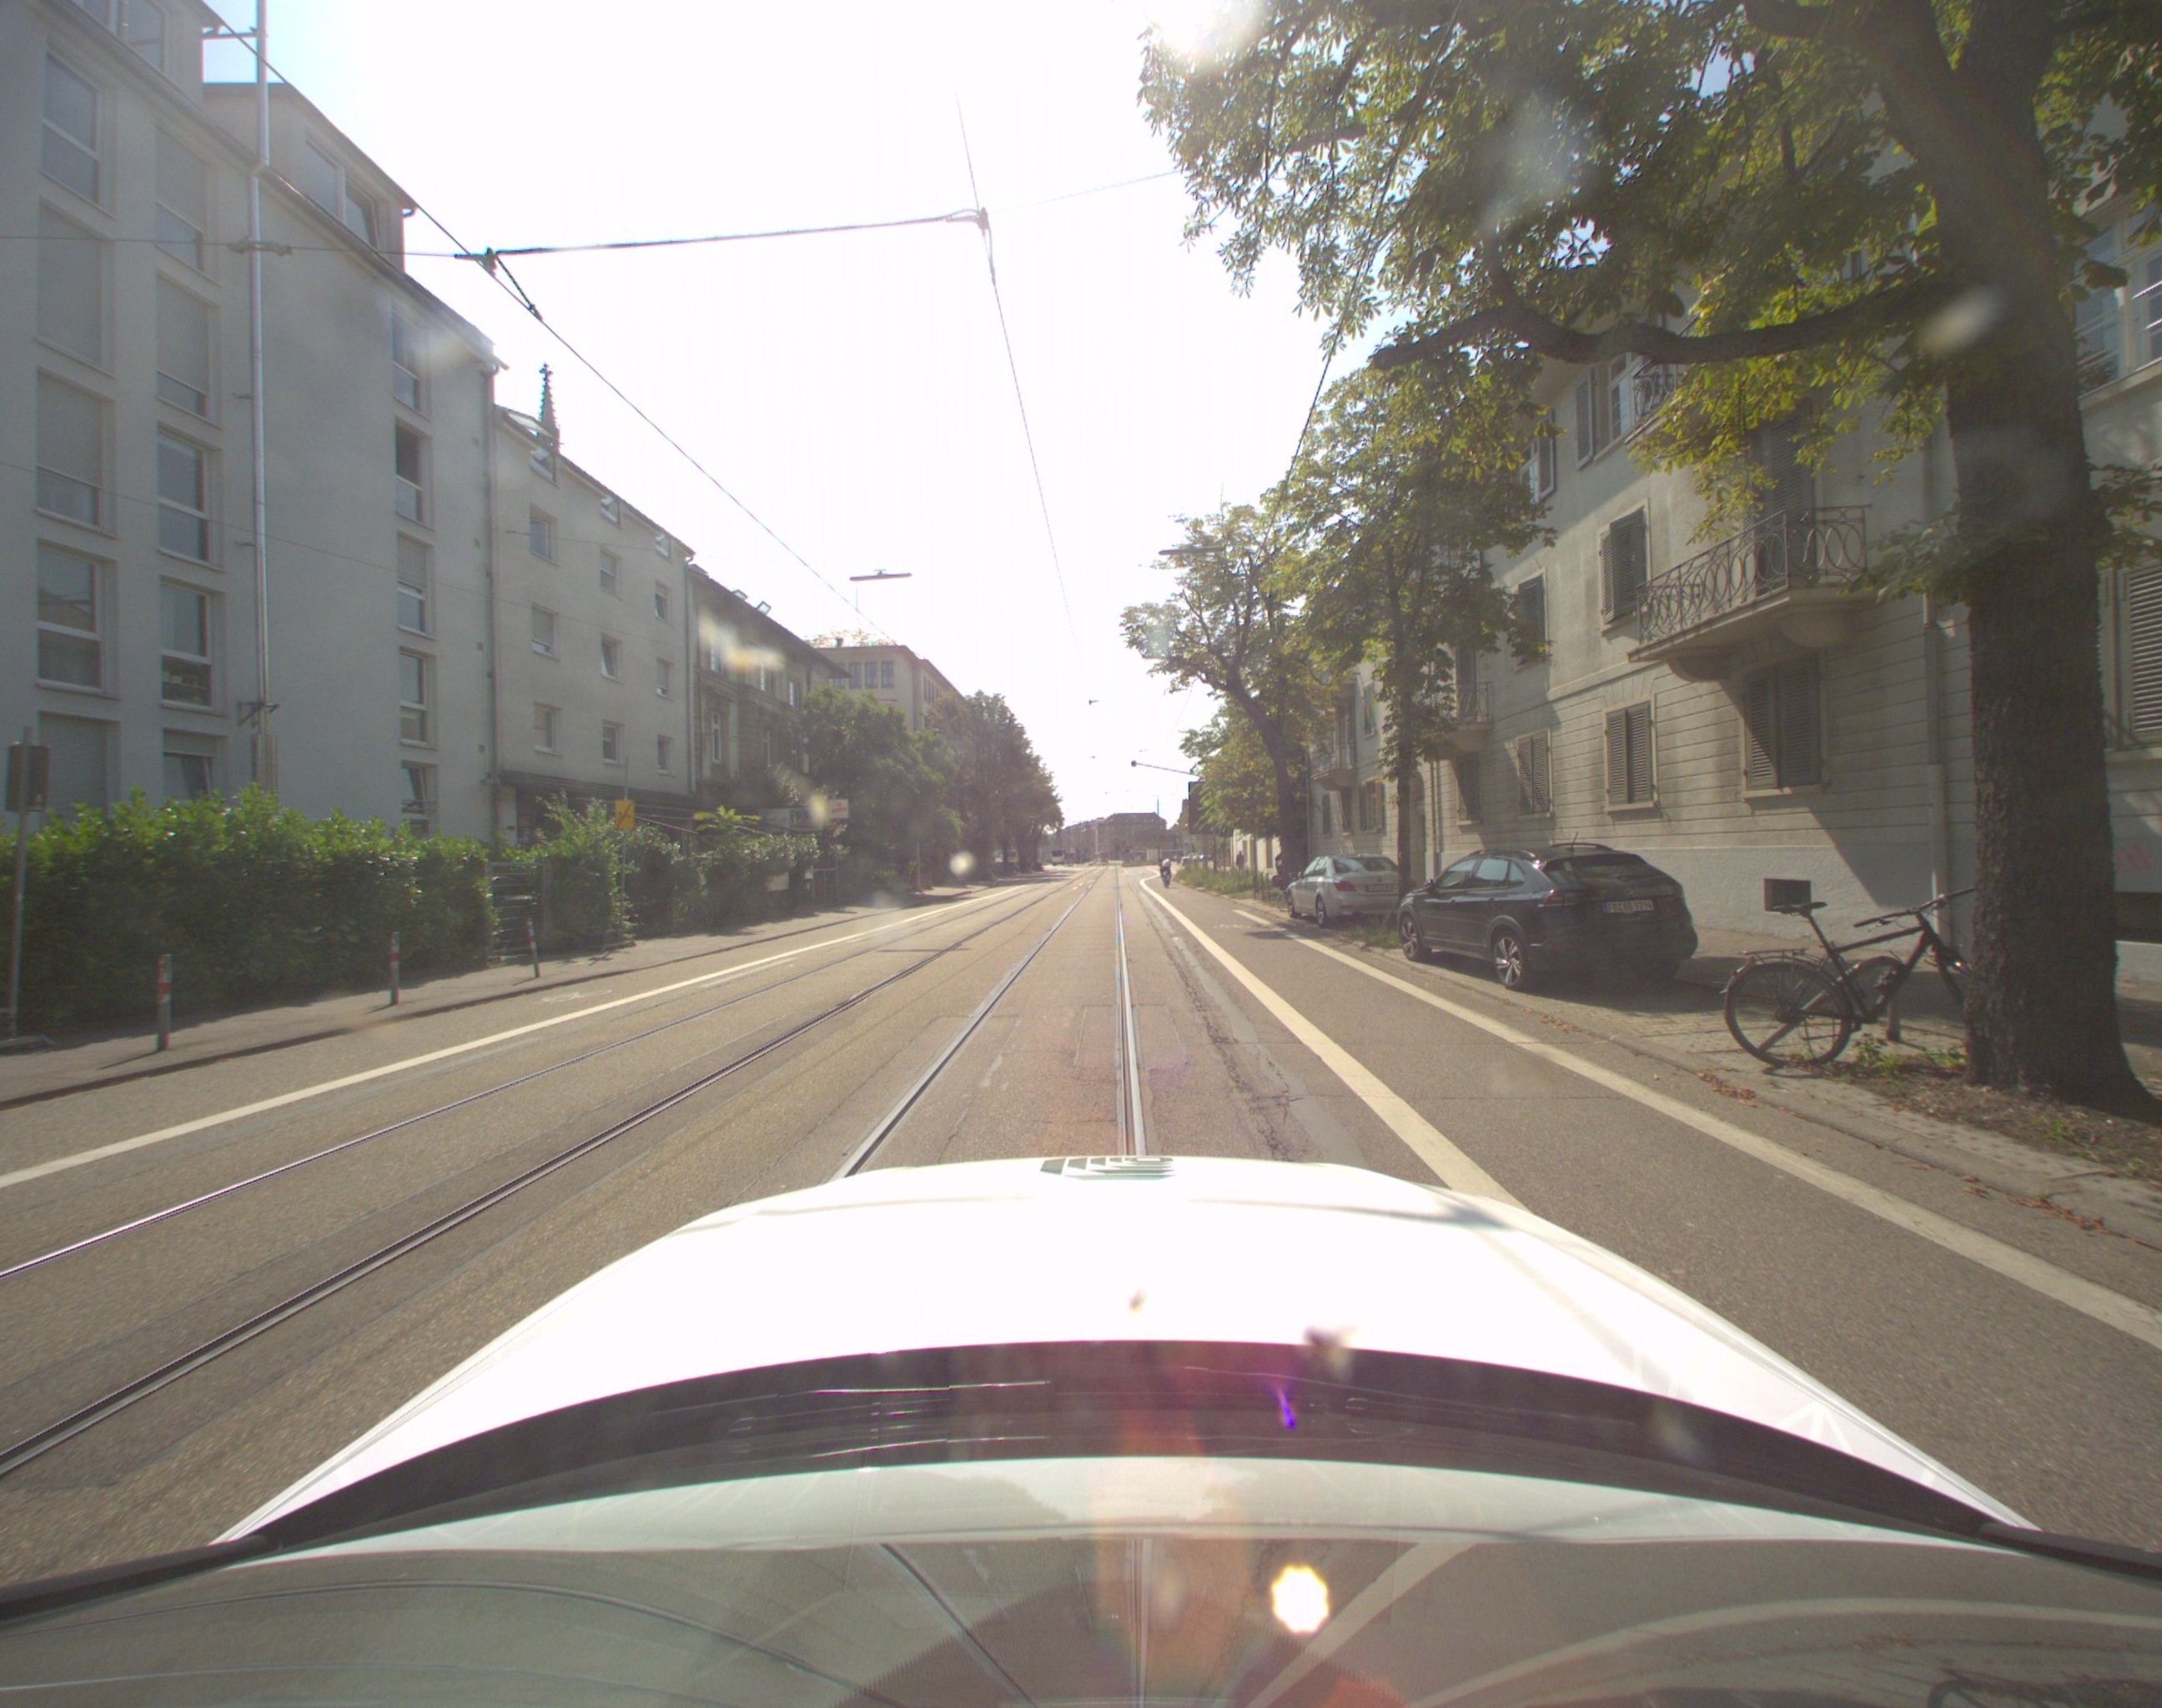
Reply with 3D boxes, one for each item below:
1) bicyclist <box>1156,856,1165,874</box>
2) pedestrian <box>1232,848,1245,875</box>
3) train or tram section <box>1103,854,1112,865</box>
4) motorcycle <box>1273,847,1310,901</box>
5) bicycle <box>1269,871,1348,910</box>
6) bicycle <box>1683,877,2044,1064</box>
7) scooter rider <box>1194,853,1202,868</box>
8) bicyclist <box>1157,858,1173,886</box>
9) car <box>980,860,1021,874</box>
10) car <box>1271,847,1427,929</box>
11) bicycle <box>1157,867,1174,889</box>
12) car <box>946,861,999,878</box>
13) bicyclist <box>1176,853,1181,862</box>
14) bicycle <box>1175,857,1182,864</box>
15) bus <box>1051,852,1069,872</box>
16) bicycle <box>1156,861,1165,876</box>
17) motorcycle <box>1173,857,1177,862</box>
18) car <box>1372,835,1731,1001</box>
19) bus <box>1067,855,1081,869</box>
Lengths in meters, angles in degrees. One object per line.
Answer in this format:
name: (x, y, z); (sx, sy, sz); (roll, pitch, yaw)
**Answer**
bicyclist: (6.284, 0.862, 64.263); (0.599, 1.335, 0.661); (-2, -1, 10)
pedestrian: (10.189, 0.504, 52.602); (0.688, 1.732, 0.580); (-2, -1, 4)
train or tram section: (8.622, 1.823, 266.218); (2.845, 3.548, 17.751); (-1, -1, 2)
motorcycle: (6.470, 0.593, 25.112); (0.880, 1.553, 2.419); (-2, -1, 10)
bicycle: (5.989, 0.951, 21.517); (1.913, 0.952, 0.722); (-2, -1, 5)
bicycle: (5.176, 0.749, 5.469); (1.748, 1.123, 0.656); (-1, -1, 1)
scooter rider: (14.274, 0.836, 99.402); (0.756, 1.775, 0.558); (-2, -1, 19)
bicyclist: (4.356, 0.931, 42.118); (0.742, 1.412, 0.962); (-1, 0, 3)
car: (-8.880, 1.410, 89.737); (4.181, 1.496, 1.801); (-1, 0, -35)
car: (5.580, 0.649, 17.625); (1.776, 1.450, 4.751); (-2, 0, 0)
bicycle: (4.369, 1.239, 42.164); (0.736, 1.049, 2.234); (-1, 0, 3)
car: (-9.854, 1.365, 74.132); (4.436, 1.462, 1.806); (-1, -1, -25)
bicyclist: (16.266, 0.587, 135.806); (0.445, 1.421, 0.499); (-3, -1, 36)
bicycle: (16.188, 1.119, 135.658); (0.440, 1.117, 1.455); (-3, -1, 36)
bus: (-4.246, 1.626, 166.151); (2.946, 3.775, 10.601); (-1, -1, 2)
bicycle: (6.298, 1.158, 64.271); (0.600, 1.163, 1.815); (-2, -1, 9)
motorcycle: (20.329, 1.181, 175.733); (0.600, 1.210, 2.261); (-2, -1, 13)
car: (5.274, 0.622, 9.964); (1.659, 1.507, 4.430); (-2, 0, -2)
bus: (-1.871, 2.080, 211.639); (2.697, 3.727, 10.429); (-1, -1, 4)
